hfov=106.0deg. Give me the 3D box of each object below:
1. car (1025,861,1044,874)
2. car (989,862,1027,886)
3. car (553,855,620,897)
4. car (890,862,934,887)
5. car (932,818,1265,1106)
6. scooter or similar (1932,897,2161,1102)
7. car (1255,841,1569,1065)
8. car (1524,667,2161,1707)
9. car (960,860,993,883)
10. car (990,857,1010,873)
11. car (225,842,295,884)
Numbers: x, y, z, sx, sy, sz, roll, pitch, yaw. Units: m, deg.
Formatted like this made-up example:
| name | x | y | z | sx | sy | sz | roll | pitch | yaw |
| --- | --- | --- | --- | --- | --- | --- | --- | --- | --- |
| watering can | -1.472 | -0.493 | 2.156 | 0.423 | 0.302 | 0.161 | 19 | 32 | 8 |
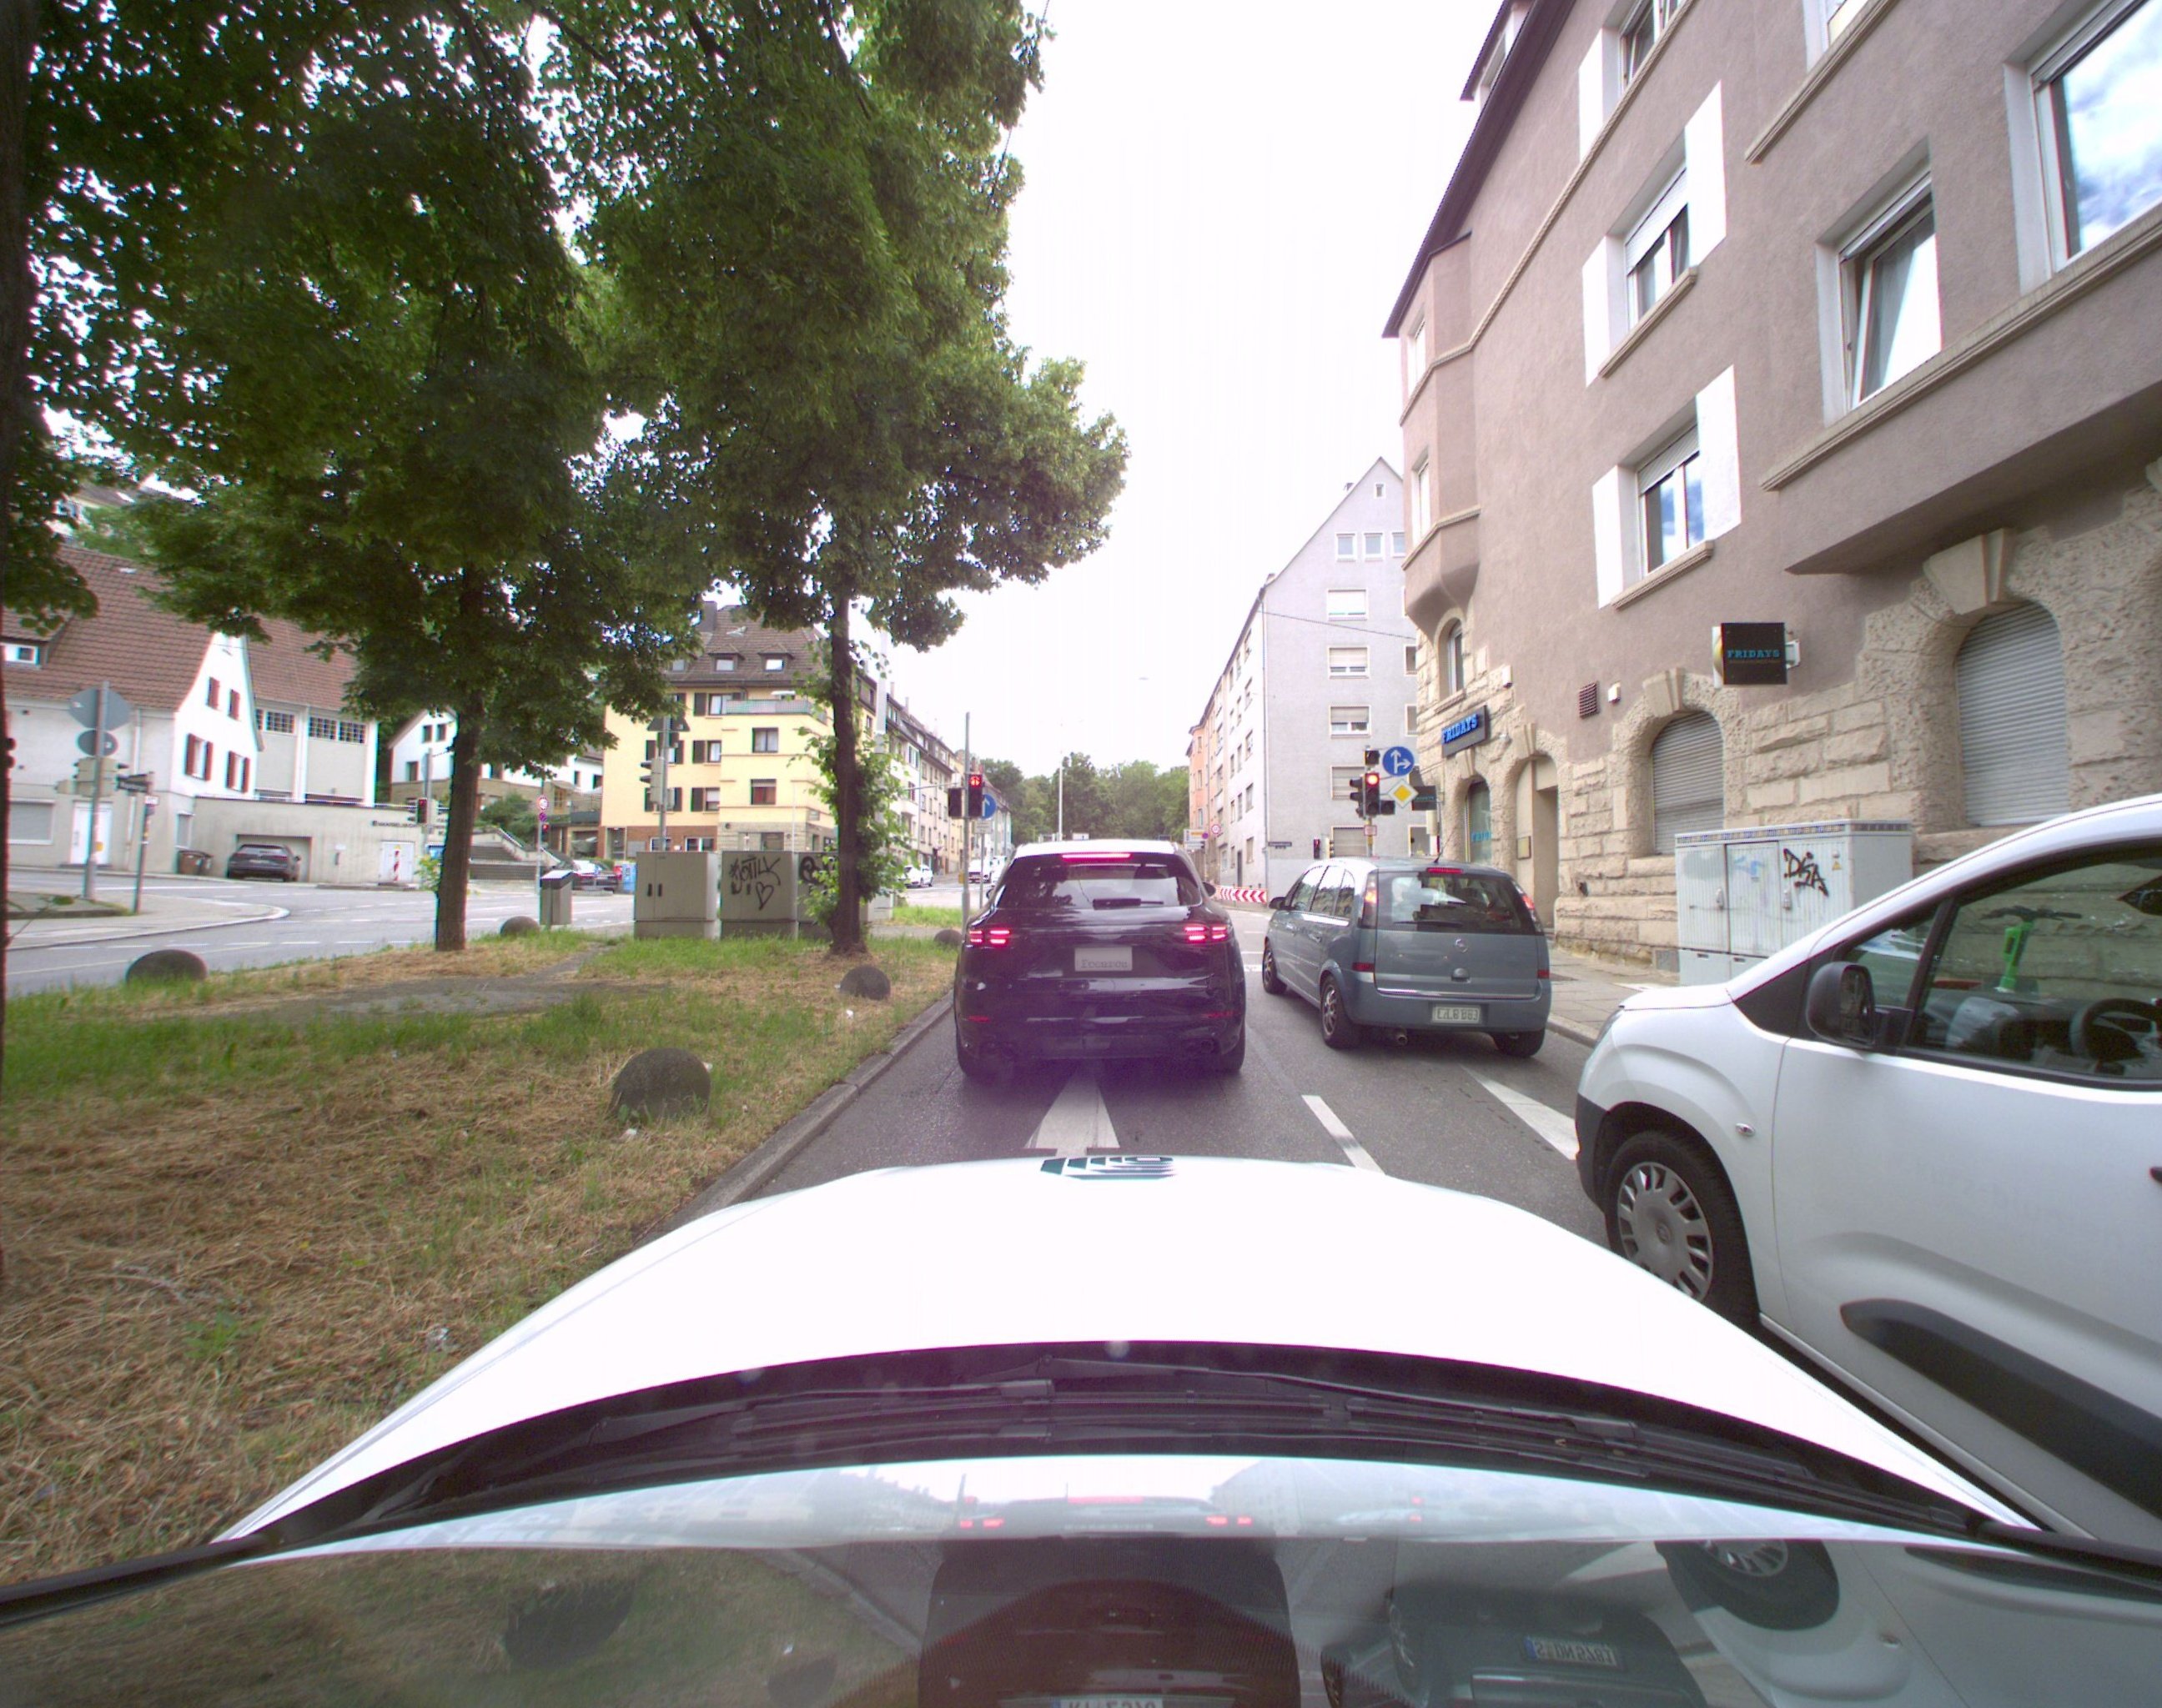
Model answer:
| name | x | y | z | sx | sy | sz | roll | pitch | yaw |
| --- | --- | --- | --- | --- | --- | --- | --- | --- | --- |
| car | -5.428 | 1.595 | 94.938 | 1.611 | 1.480 | 3.828 | -1 | -2 | 5 |
| car | -4.509 | 1.218 | 51.009 | 1.854 | 1.388 | 4.096 | 0 | -1 | 2 |
| car | -23.620 | 1.004 | 38.873 | 3.477 | 1.596 | 1.881 | 7 | 4 | 44 |
| car | -10.699 | 1.293 | 51.935 | 1.837 | 1.486 | 3.900 | 0 | -1 | 2 |
| car | 0.162 | 0.658 | 6.842 | 1.948 | 1.674 | 4.001 | -1 | -1 | 2 |
| scooter or similar | 6.463 | 0.864 | 5.244 | 0.524 | 1.104 | 1.424 | -1 | -1 | 4 |
| car | 2.869 | 0.754 | 7.929 | 1.622 | 1.598 | 3.670 | 3 | 0 | 2 |
| car | 2.840 | 0.604 | 1.042 | 1.969 | 1.775 | 4.676 | 3 | 0 | 0 |
| car | -7.646 | 1.269 | 59.316 | 1.976 | 1.610 | 4.537 | 0 | -1 | -13 |
| car | -10.435 | 1.421 | 105.120 | 2.008 | 2.045 | 4.669 | 0 | -1 | 2 |
| car | -32.143 | 0.353 | 31.860 | 3.019 | 1.405 | 1.681 | 2 | -4 | 42 |
